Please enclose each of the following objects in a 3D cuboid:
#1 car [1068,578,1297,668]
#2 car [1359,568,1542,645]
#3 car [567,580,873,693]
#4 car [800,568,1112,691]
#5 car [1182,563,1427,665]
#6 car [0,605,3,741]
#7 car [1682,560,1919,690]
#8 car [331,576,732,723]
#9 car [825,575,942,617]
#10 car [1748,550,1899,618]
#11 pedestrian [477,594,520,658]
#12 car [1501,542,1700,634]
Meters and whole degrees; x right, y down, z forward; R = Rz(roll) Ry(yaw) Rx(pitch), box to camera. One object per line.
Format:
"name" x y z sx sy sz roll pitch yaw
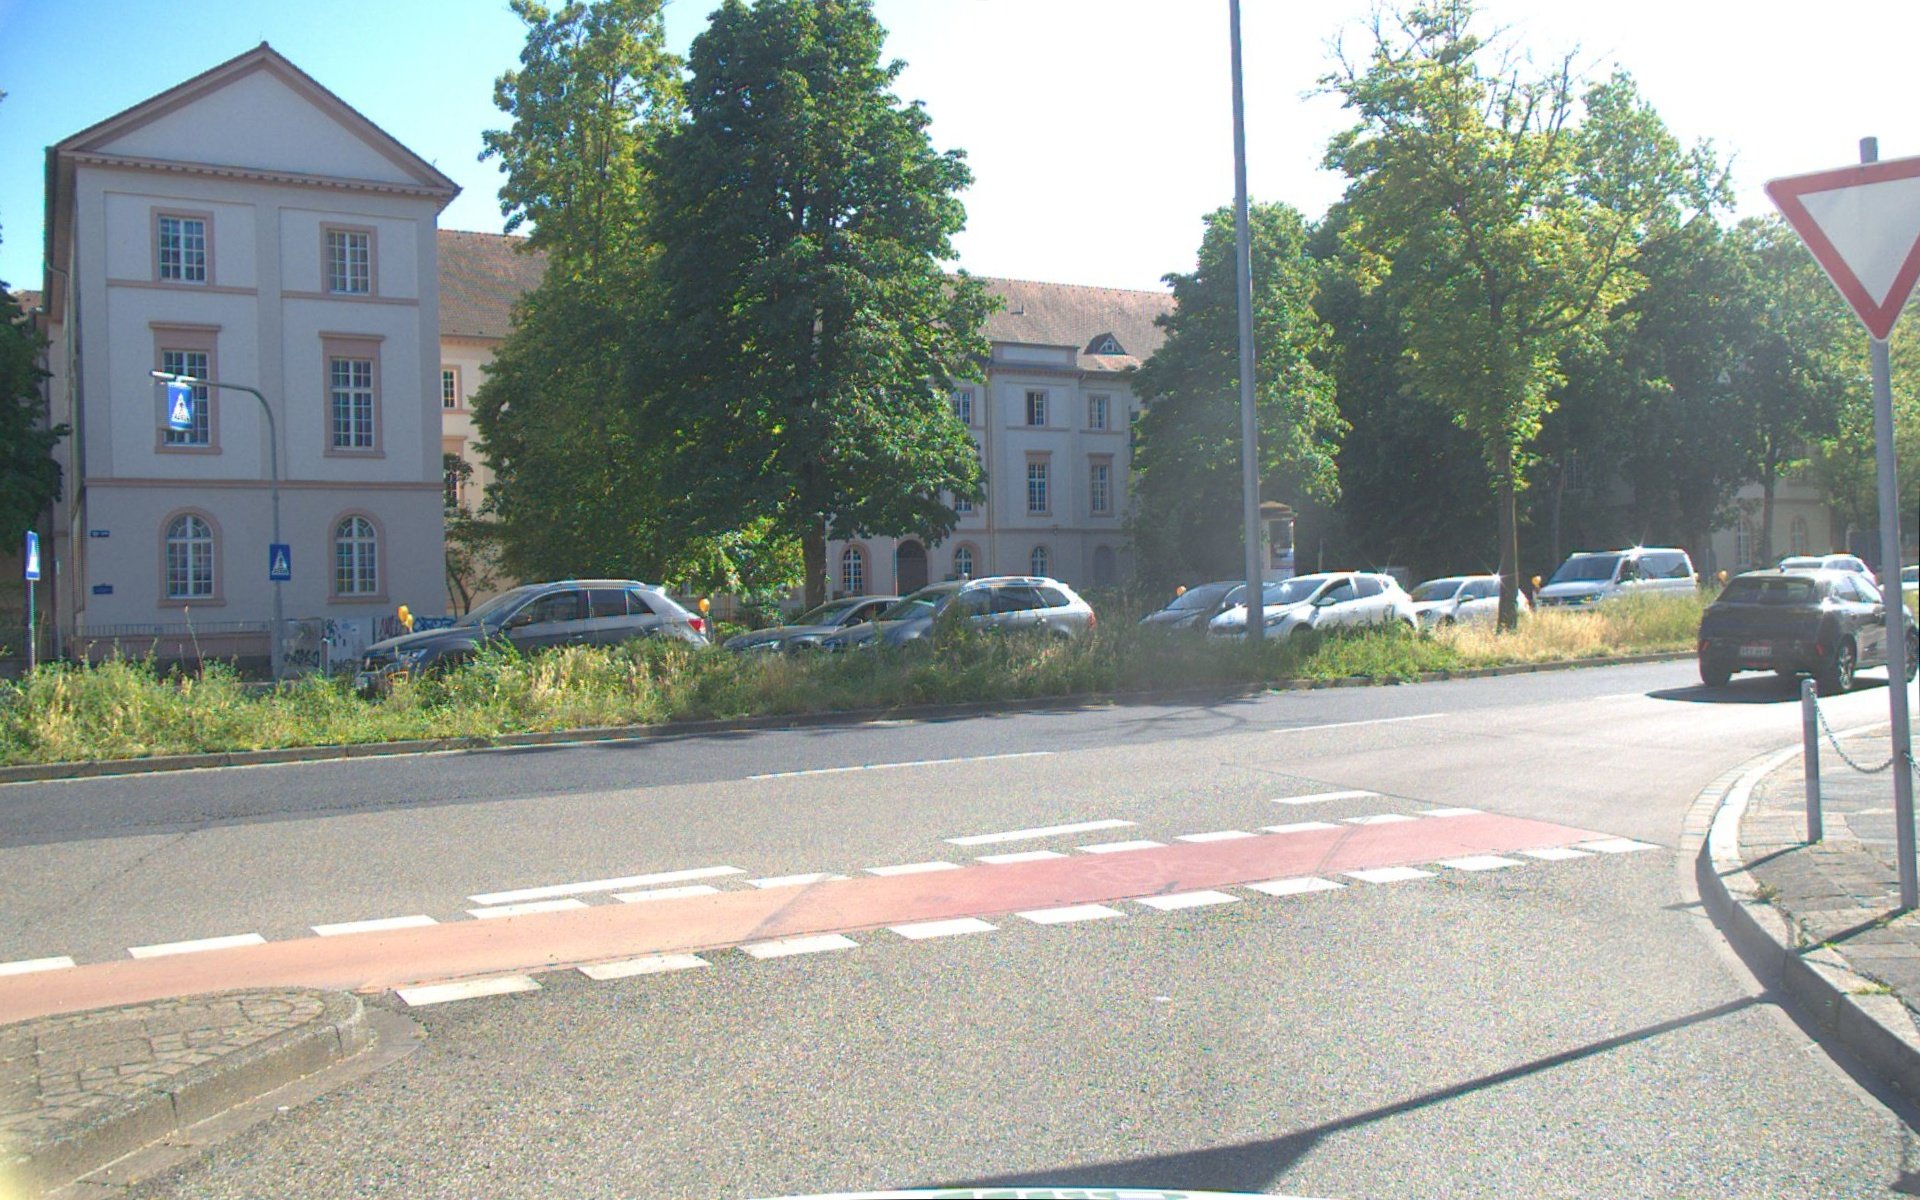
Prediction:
"car" 4.233 0.380 31.138 4.301 1.545 1.778 -1 1 -37
"car" 10.645 0.115 35.803 4.036 1.545 1.778 -2 0 -37
"car" -3.588 0.492 25.121 4.301 1.545 1.778 -1 1 -37
"car" -0.003 0.360 23.889 4.317 1.545 1.778 -2 2 -37
"car" 5.887 0.204 28.037 4.161 1.545 1.778 -2 0 -37
"car" -12.783 0.806 17.683 4.233 1.613 1.838 -2 0 -37
"car" 11.500 0.257 22.232 3.967 1.545 1.871 -2 2 -43
"car" -5.043 0.509 19.745 4.301 1.545 1.778 -1 1 -37
"car" -3.063 -0.144 66.995 4.633 1.518 1.626 2 -1 -37
"car" 24.093 -0.459 46.081 4.979 1.773 1.778 -2 0 -37
"pedestrian" -11.608 0.644 41.629 0.775 1.562 0.731 -2 0 -41
"car" 15.471 -0.320 39.879 4.964 2.063 2.211 -2 0 -37
